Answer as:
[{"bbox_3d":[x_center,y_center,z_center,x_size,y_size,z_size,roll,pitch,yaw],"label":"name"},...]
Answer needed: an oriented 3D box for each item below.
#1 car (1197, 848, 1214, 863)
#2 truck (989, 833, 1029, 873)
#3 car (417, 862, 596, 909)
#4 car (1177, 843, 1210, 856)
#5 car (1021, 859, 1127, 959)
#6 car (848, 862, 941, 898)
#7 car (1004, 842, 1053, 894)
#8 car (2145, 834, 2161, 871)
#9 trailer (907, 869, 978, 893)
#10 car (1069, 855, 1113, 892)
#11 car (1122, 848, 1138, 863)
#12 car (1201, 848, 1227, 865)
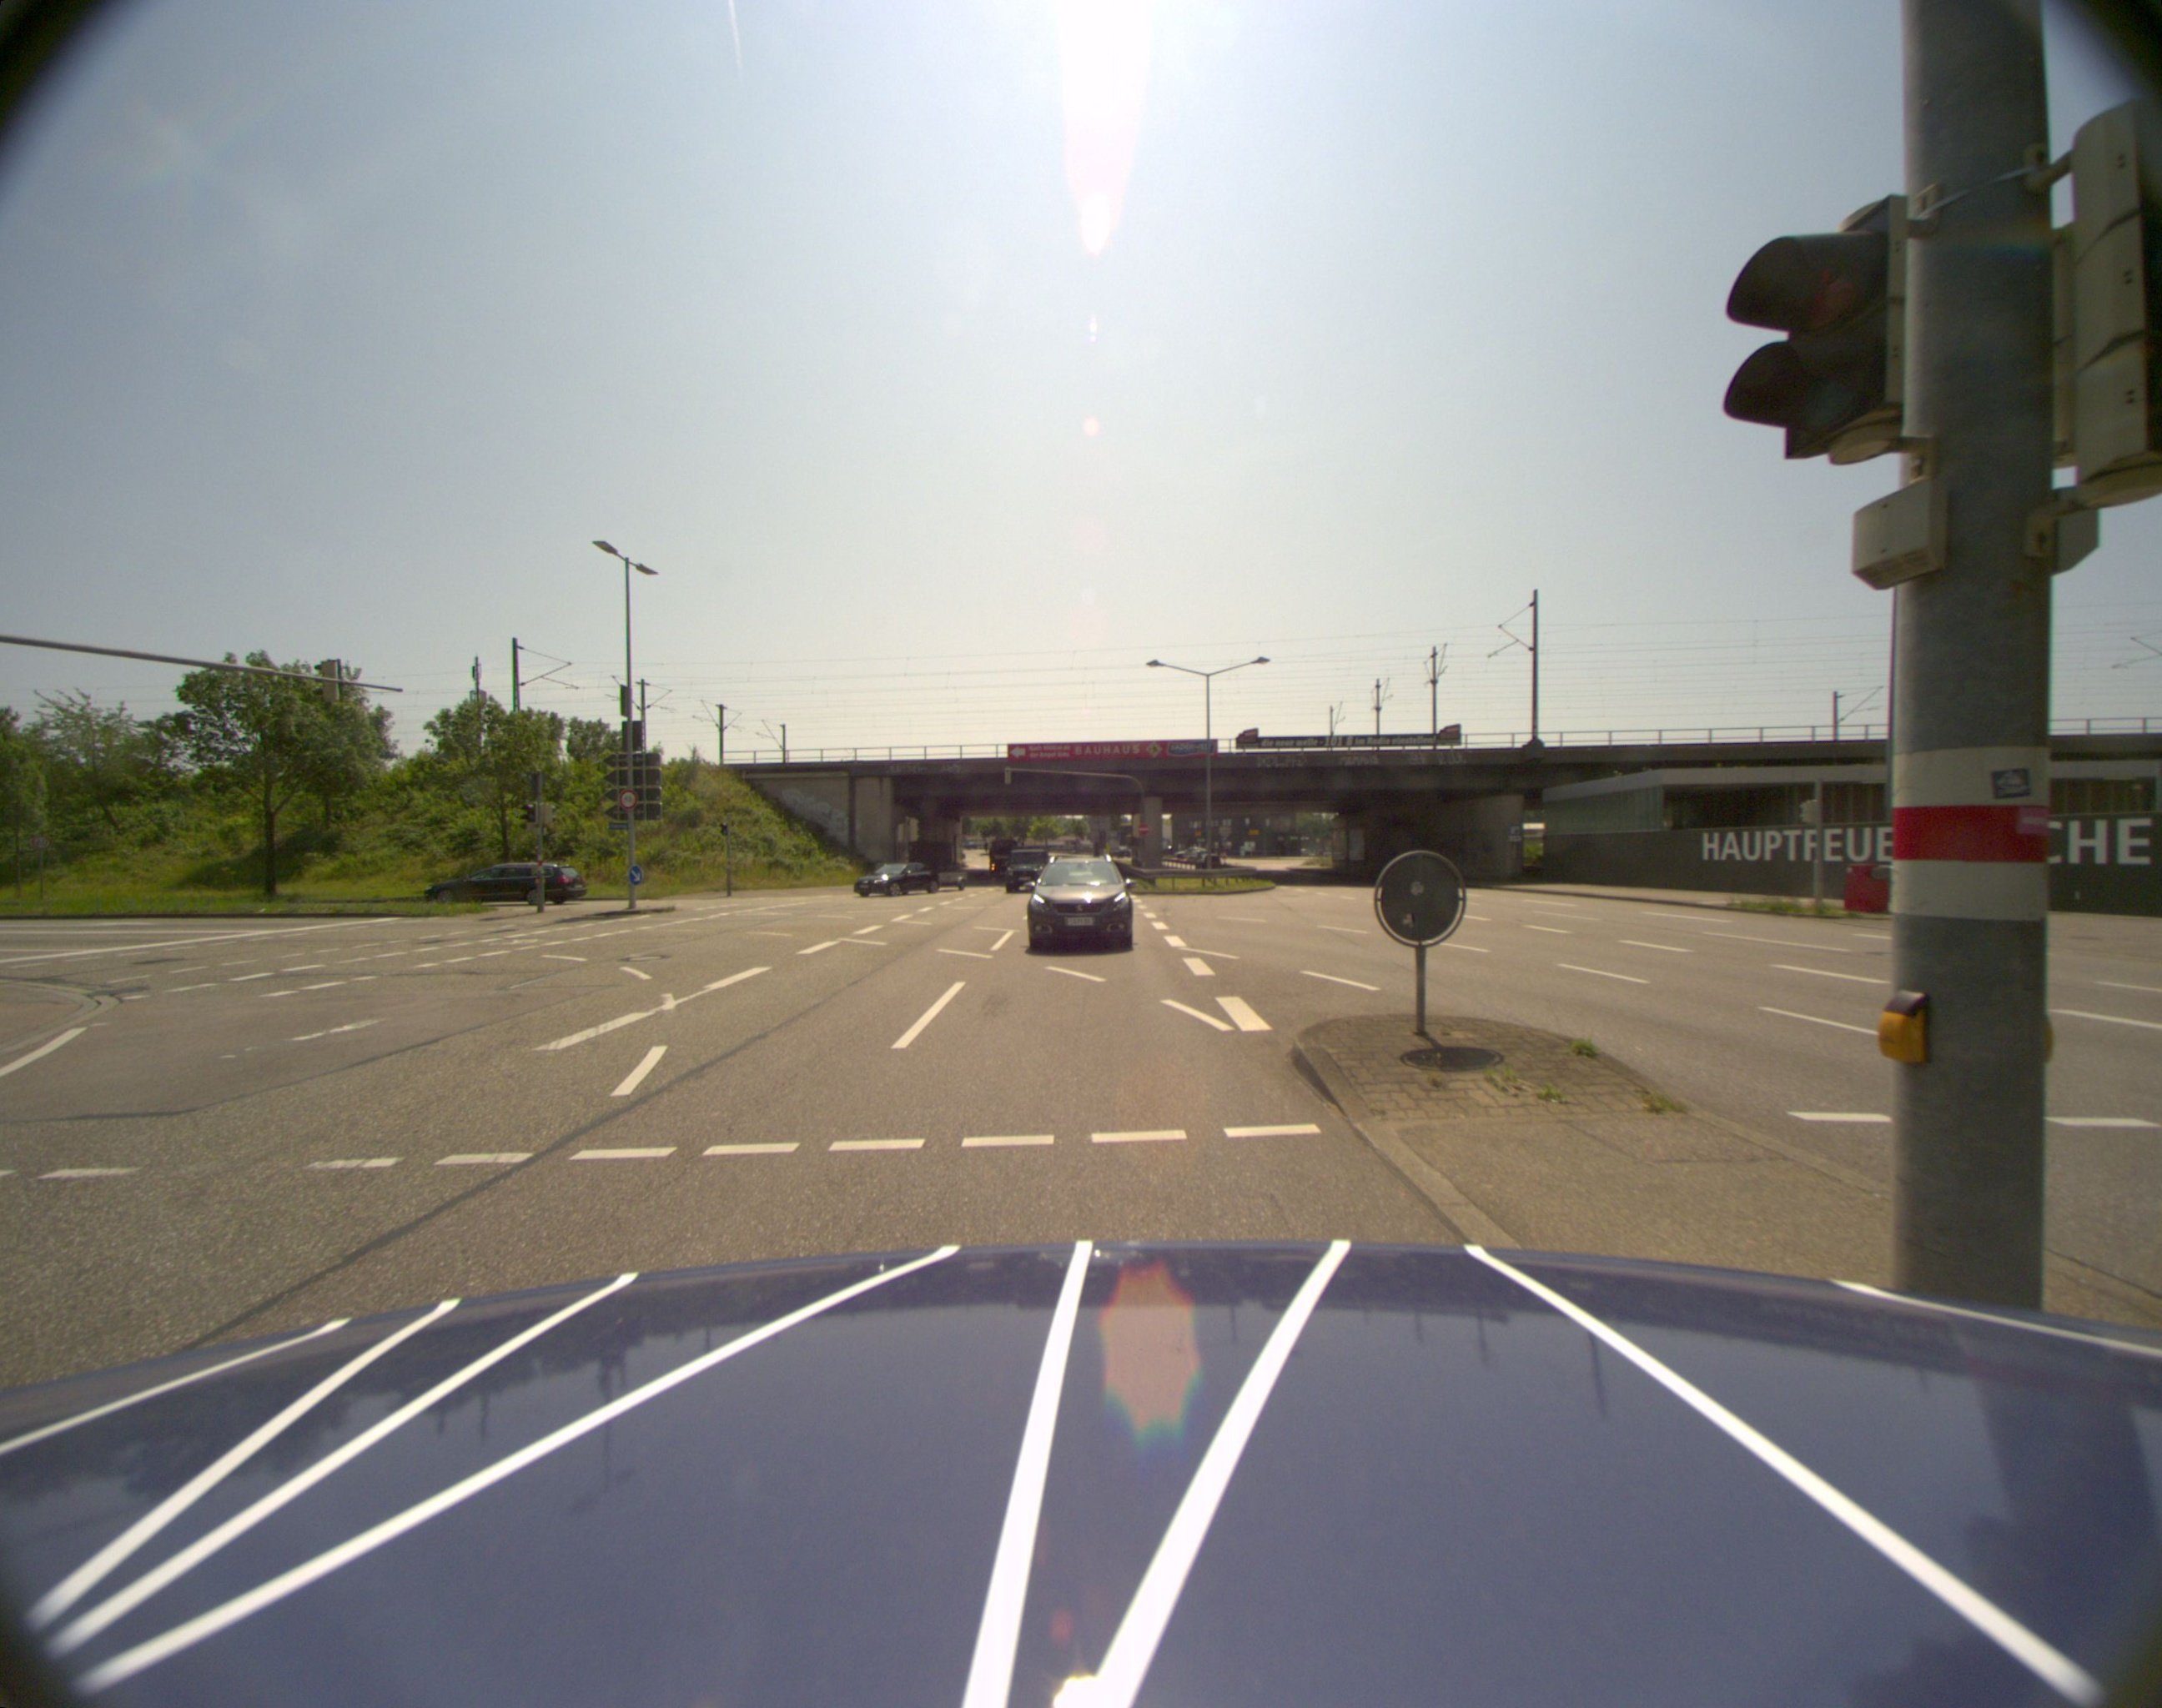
[{"bbox_3d":[13.059,0.143,79.663,1.709,1.535,3.375,-1,1,9],"label":"car"},{"bbox_3d":[-5.964,-0.090,62.029,2.887,2.899,8.511,-2,0,-7],"label":"truck"},{"bbox_3d":[-20.067,1.072,26.732,4.674,1.494,1.808,-1,1,-10],"label":"car"},{"bbox_3d":[14.552,-0.562,98.325,3.991,1.674,2.003,0,1,18],"label":"car"},{"bbox_3d":[0.015,0.869,13.942,1.619,1.503,4.459,-1,0,3],"label":"car"},{"bbox_3d":[-7.880,1.069,32.447,1.805,1.382,3.909,0,0,25],"label":"car"},{"bbox_3d":[-2.317,0.568,34.511,1.841,2.141,4.557,-1,1,0],"label":"car"},{"bbox_3d":[48.777,-0.084,32.424,1.631,1.661,3.789,-1,0,7],"label":"car"},{"bbox_3d":[-6.492,1.248,35.998,1.678,0.936,3.838,-1,0,17],"label":"trailer"},{"bbox_3d":[0.438,0.796,33.108,1.817,1.456,4.000,-1,0,1],"label":"car"},{"bbox_3d":[6.995,0.214,108.285,2.022,2.002,4.000,-1,0,1],"label":"car"},{"bbox_3d":[11.316,0.214,64.980,1.710,1.442,3.373,-1,0,2],"label":"car"}]
